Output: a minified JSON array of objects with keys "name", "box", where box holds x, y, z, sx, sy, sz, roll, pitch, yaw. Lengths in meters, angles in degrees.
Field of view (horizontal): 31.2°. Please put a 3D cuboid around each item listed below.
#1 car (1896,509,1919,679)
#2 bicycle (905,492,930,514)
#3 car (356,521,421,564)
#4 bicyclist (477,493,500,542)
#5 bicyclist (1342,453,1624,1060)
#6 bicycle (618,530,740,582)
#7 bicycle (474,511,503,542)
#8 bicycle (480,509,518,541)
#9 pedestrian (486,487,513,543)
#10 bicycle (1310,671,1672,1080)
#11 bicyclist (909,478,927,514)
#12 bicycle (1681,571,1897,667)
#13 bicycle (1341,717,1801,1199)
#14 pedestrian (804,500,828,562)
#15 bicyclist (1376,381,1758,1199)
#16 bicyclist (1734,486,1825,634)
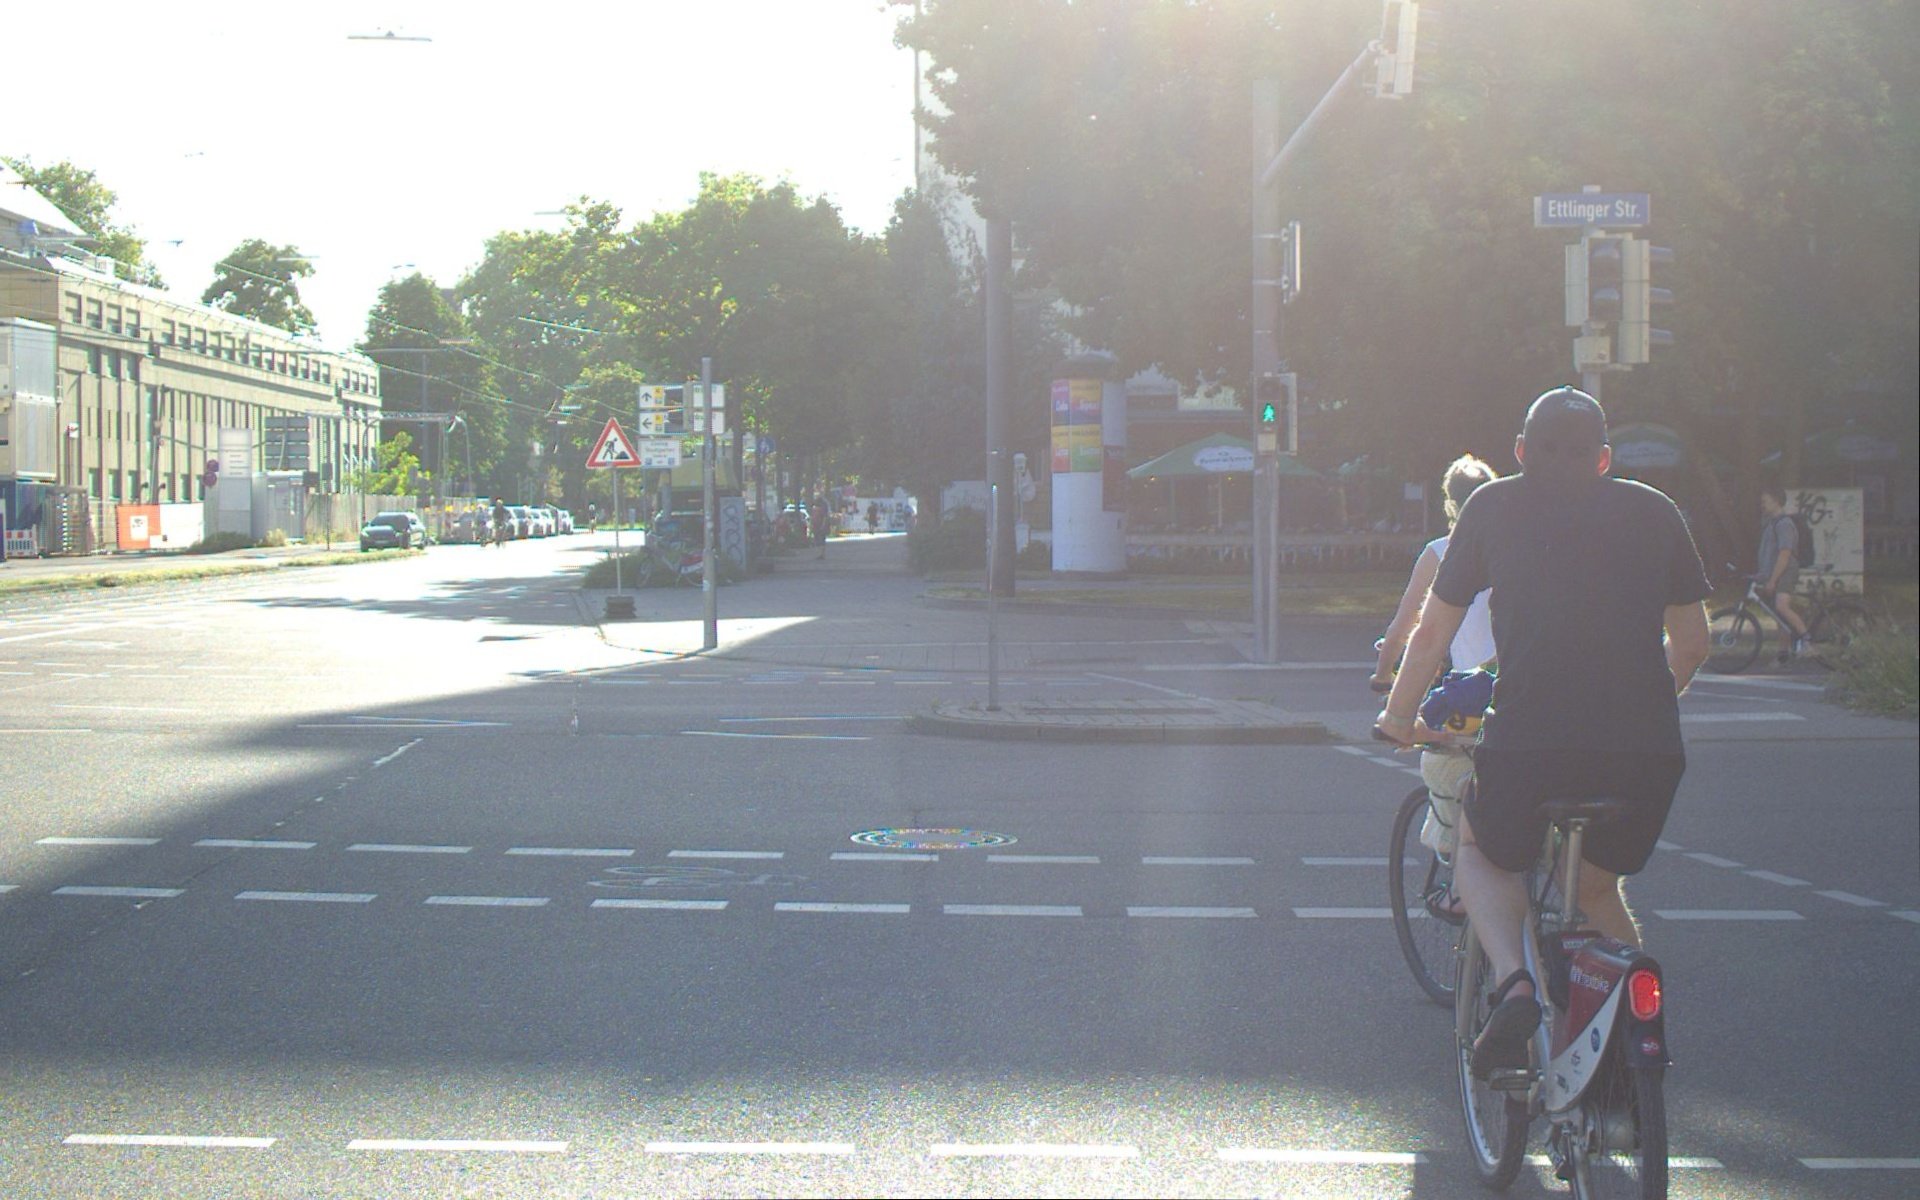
[{"name":"car","box":[10.868,-0.015,30.442,4.576,1.511,2.000,1,1,0]},{"name":"bicycle","box":[-2.442,-5.569,197.251,0.890,1.215,2.794,1,1,-12]},{"name":"car","box":[-22.025,-2.234,132.614,1.993,1.593,4.001,-1,2,-3]},{"name":"bicyclist","box":[-18.536,-3.245,135.264,0.750,1.913,1.215,1,1,-2]},{"name":"bicyclist","box":[1.552,0.435,10.318,0.583,1.732,0.950,-1,1,-8]},{"name":"bicycle","box":[-5.229,-0.832,64.069,2.244,0.937,0.654,-1,1,-5]},{"name":"bicycle","box":[-18.536,-2.895,135.182,0.750,1.201,3.108,1,1,-2]},{"name":"bicycle","box":[-17.309,-2.813,129.119,0.751,1.201,3.107,1,1,5]},{"name":"pedestrian","box":[-17.310,-3.188,129.179,0.751,2.056,1.050,1,1,5]},{"name":"bicycle","box":[1.558,0.777,10.365,0.582,1.040,1.747,-1,1,-9]},{"name":"bicyclist","box":[-2.405,-5.969,197.145,0.890,2.007,0.749,1,1,-12]},{"name":"bicycle","box":[8.003,0.176,33.249,1.944,0.886,0.718,1,1,6]},{"name":"bicycle","box":[1.258,0.826,7.401,0.623,1.040,1.747,0,1,-2]},{"name":"pedestrian","box":[-3.961,-1.893,94.443,0.576,1.683,0.585,-1,1,-8]},{"name":"bicyclist","box":[1.268,0.409,7.320,0.623,1.709,0.913,0,1,-2]},{"name":"bicyclist","box":[7.921,-0.388,33.244,0.747,1.401,0.702,1,1,6]}]
